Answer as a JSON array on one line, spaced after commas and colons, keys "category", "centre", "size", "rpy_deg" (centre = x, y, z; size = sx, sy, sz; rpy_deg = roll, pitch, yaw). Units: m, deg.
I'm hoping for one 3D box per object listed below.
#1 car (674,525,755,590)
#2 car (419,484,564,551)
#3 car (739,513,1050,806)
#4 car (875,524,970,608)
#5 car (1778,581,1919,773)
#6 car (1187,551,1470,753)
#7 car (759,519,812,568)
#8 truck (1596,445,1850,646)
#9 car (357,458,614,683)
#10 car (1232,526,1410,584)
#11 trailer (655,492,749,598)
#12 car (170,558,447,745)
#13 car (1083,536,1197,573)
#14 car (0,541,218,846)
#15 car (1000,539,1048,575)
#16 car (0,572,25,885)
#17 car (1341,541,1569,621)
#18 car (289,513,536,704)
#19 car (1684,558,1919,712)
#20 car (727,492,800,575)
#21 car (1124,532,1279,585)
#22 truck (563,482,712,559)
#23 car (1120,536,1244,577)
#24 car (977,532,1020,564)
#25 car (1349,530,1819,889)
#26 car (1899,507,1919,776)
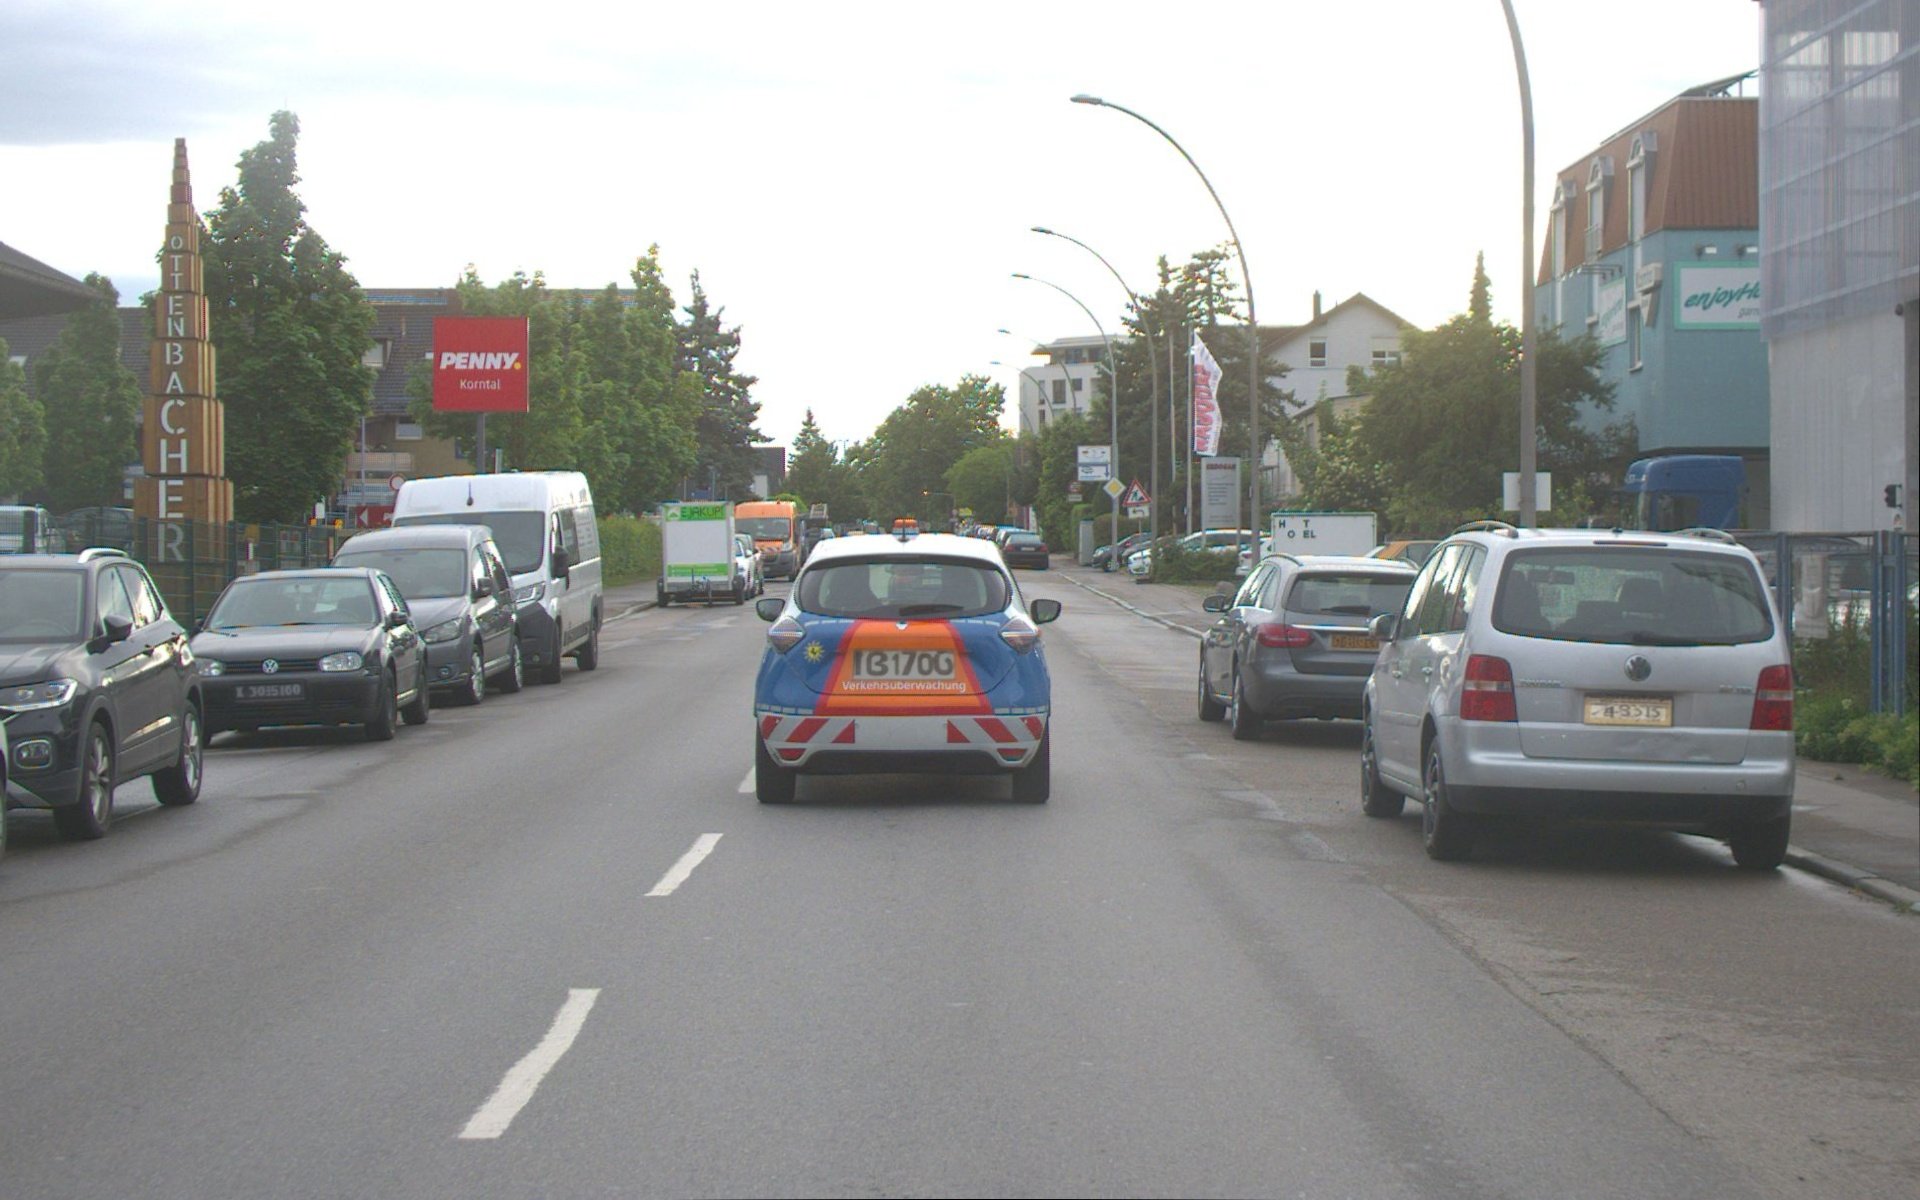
[{"category": "car", "centre": [-5.957, -1.047, 83.781], "size": [1.772, 1.493, 4.137], "rpy_deg": [0, 2, -1]}, {"category": "car", "centre": [-14.976, -2.633, 109.954], "size": [4.306, 2.007, 2.063], "rpy_deg": [2, 1, 0]}, {"category": "car", "centre": [-0.404, 0.313, 20.943], "size": [1.731, 1.625, 3.495], "rpy_deg": [0, 1, -1]}, {"category": "car", "centre": [-0.745, -0.650, 65.446], "size": [1.650, 1.516, 4.000], "rpy_deg": [1, 1, -2]}, {"category": "car", "centre": [8.612, 0.610, 26.067], "size": [4.319, 1.374, 1.850], "rpy_deg": [2, 1, -1]}, {"category": "car", "centre": [2.904, 0.362, 27.957], "size": [1.738, 1.461, 4.546], "rpy_deg": [2, 1, -1]}, {"category": "car", "centre": [-7.134, -2.303, 140.894], "size": [1.993, 1.940, 5.366], "rpy_deg": [1, 1, -1]}, {"category": "truck", "centre": [15.117, -1.073, 68.317], "size": [4.143, 3.661, 2.720], "rpy_deg": [4, 1, -3]}, {"category": "car", "centre": [-5.614, -0.388, 41.535], "size": [2.158, 2.418, 6.460], "rpy_deg": [-3, 1, 0]}, {"category": "car", "centre": [9.462, -1.174, 90.346], "size": [4.415, 1.388, 1.880], "rpy_deg": [2, 1, -1]}, {"category": "trailer", "centre": [-5.882, -1.275, 78.911], "size": [1.812, 2.306, 4.731], "rpy_deg": [-2, 1, -1]}, {"category": "car", "centre": [-5.465, 0.382, 29.311], "size": [1.661, 1.443, 4.318], "rpy_deg": [-1, 1, -2]}, {"category": "car", "centre": [6.556, -1.661, 125.681], "size": [3.986, 1.262, 1.951], "rpy_deg": [2, 1, -2]}, {"category": "car", "centre": [-5.504, 0.479, 19.786], "size": [1.661, 1.579, 3.917], "rpy_deg": [-2, 1, -1]}, {"category": "car", "centre": [2.422, -1.665, 131.046], "size": [1.589, 1.336, 4.093], "rpy_deg": [0, 1, -2]}, {"category": "car", "centre": [-5.442, 0.652, 15.165], "size": [1.616, 1.504, 3.660], "rpy_deg": [-1, 1, 0]}, {"category": "car", "centre": [9.251, -0.361, 64.437], "size": [3.986, 1.425, 1.631], "rpy_deg": [1, 1, -2]}, {"category": "car", "centre": [-5.614, 0.055, 35.748], "size": [1.769, 1.762, 4.446], "rpy_deg": [-3, 1, 0]}, {"category": "car", "centre": [10.095, 0.392, 36.815], "size": [4.243, 1.530, 1.812], "rpy_deg": [2, 1, 0]}, {"category": "car", "centre": [-6.197, -2.129, 108.946], "size": [2.124, 2.529, 6.023], "rpy_deg": [-1, 1, -2]}, {"category": "car", "centre": [7.059, -1.211, 100.843], "size": [4.338, 1.470, 1.903], "rpy_deg": [1, 1, -1]}, {"category": "truck", "centre": [-13.435, -3.304, 143.382], "size": [5.911, 3.063, 2.450], "rpy_deg": [2, 1, 0]}, {"category": "car", "centre": [7.333, -1.436, 114.006], "size": [3.987, 1.262, 1.951], "rpy_deg": [2, 1, 2]}, {"category": "car", "centre": [1.819, -2.468, 162.806], "size": [1.711, 1.433, 4.527], "rpy_deg": [1, 1, -3]}, {"category": "car", "centre": [3.136, 0.482, 18.102], "size": [1.739, 1.616, 4.373], "rpy_deg": [2, 1, 1]}, {"category": "car", "centre": [9.102, 0.357, 23.548], "size": [4.731, 1.880, 2.000], "rpy_deg": [2, 1, 0]}]
